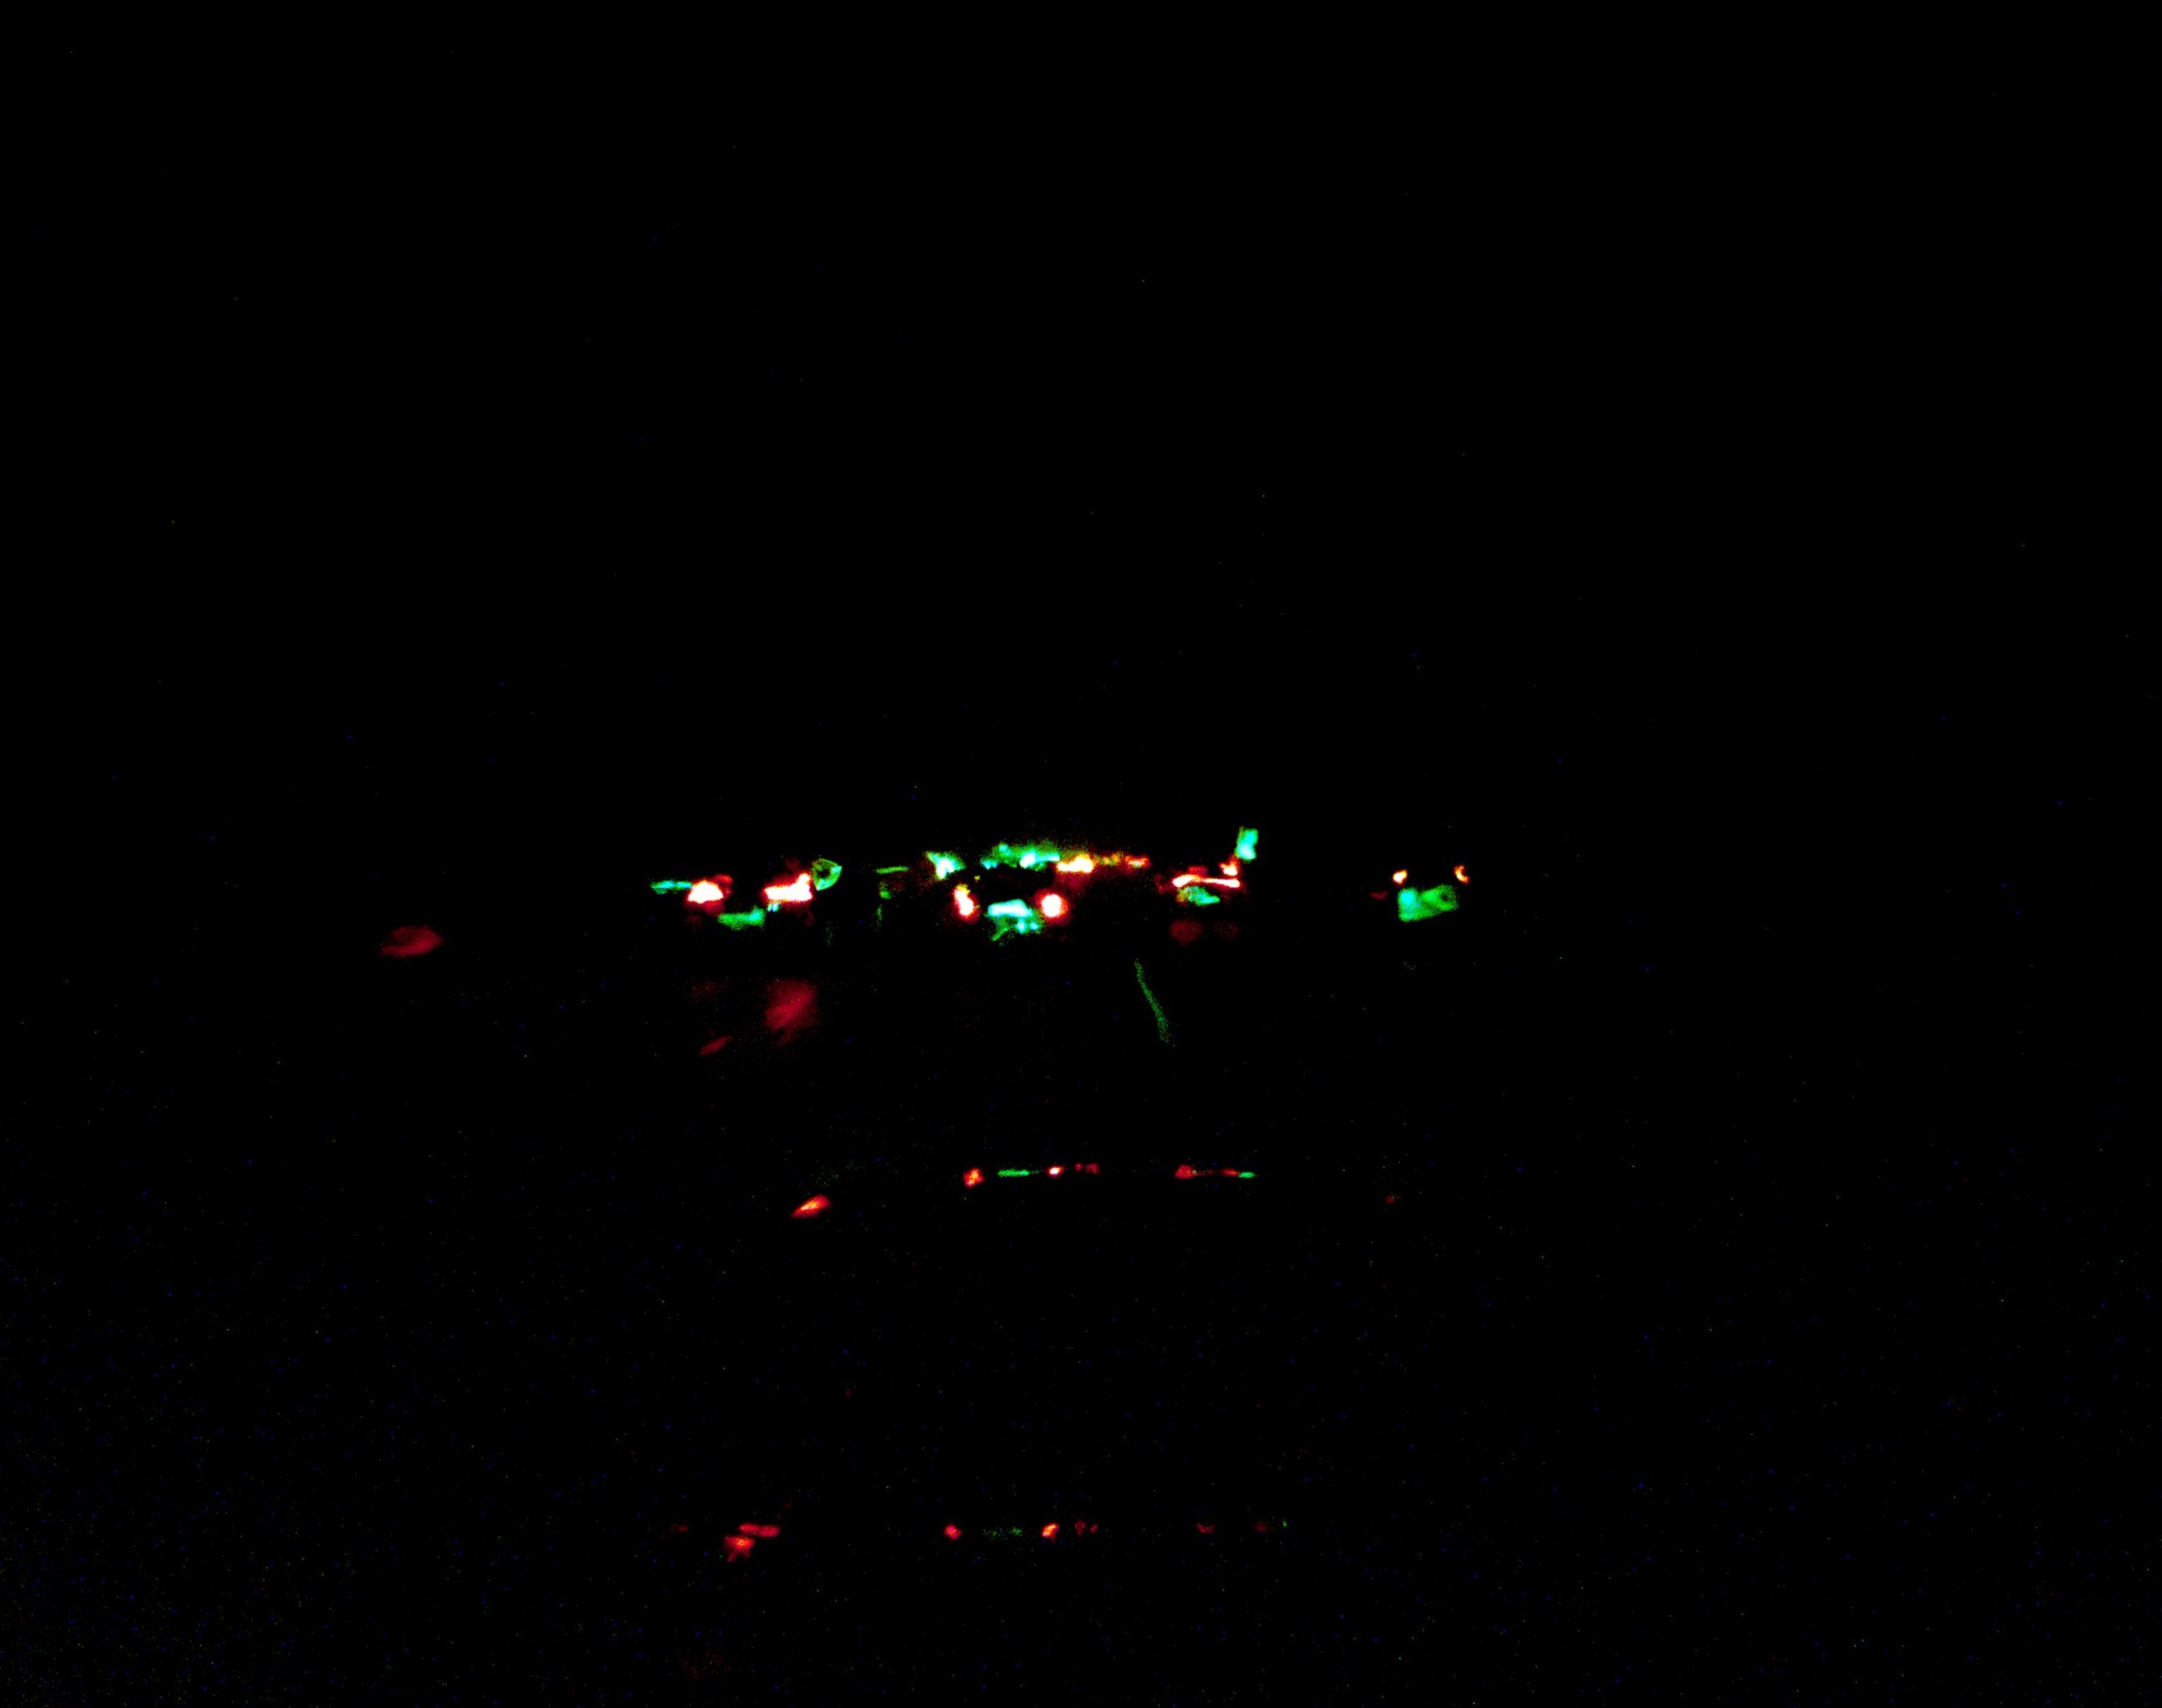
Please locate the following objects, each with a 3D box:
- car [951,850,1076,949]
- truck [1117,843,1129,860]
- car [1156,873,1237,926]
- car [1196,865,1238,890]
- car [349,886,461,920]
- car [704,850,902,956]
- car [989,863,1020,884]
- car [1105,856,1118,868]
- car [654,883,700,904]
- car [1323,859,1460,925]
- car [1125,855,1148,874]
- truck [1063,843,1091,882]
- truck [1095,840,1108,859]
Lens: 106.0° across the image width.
[{"bbox_3d":[-1.041,0.693,14.378,1.796,1.487,4.000,-1,0,1],"label":"car"},{"bbox_3d":[7.770,-0.436,151.288,1.986,3.042,6.468,-4,-1,2],"label":"truck"},{"bbox_3d":[2.993,1.166,21.688,1.577,1.246,3.065,0,0,-3],"label":"car"},{"bbox_3d":[7.226,1.252,43.352,1.577,1.246,3.065,0,0,-3],"label":"car"},{"bbox_3d":[-28.808,2.069,34.868,1.589,1.158,3.773,-4,-1,0],"label":"car"},{"bbox_3d":[-4.710,0.719,14.643,1.852,1.540,4.751,-1,1,1],"label":"car"},{"bbox_3d":[-4.827,1.220,51.801,1.657,1.236,3.759,-4,-1,-1],"label":"car"},{"bbox_3d":[4.203,1.060,112.812,1.856,1.618,4.002,0,0,2],"label":"car"},{"bbox_3d":[-28.219,2.753,57.015,1.527,1.307,3.233,-4,-1,0],"label":"car"},{"bbox_3d":[6.393,0.732,17.070,1.577,1.246,3.065,0,0,-3],"label":"car"},{"bbox_3d":[4.707,0.877,69.266,1.856,1.618,4.002,0,0,2],"label":"car"},{"bbox_3d":[-0.274,0.703,69.462,1.986,3.042,6.468,-4,-1,2],"label":"truck"},{"bbox_3d":[3.495,-0.741,138.439,1.986,3.042,6.468,-4,-1,2],"label":"truck"}]
